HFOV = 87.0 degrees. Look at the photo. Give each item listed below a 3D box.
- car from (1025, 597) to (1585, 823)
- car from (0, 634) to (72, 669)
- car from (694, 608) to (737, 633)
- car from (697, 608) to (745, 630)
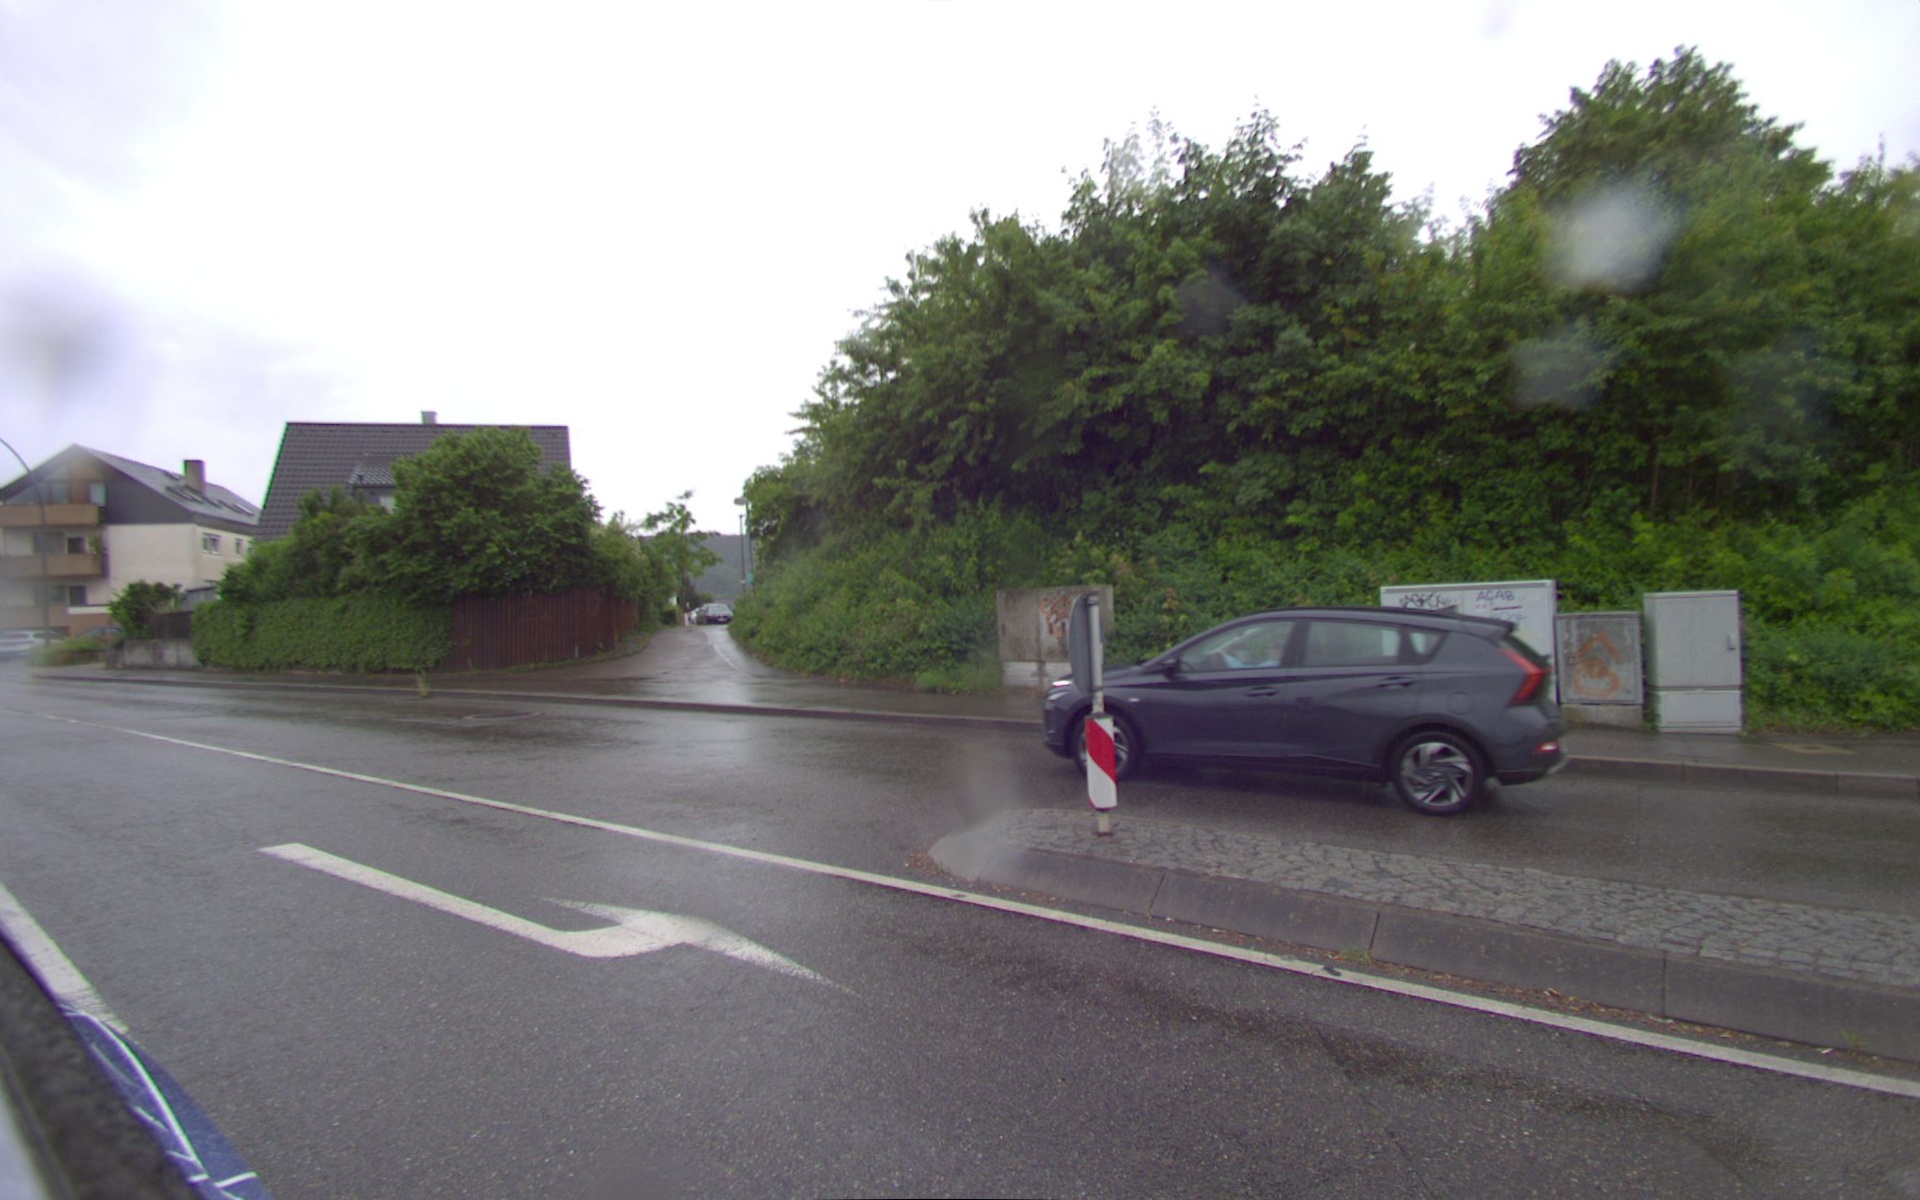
[{"bbox_3d":[2.718,0.748,8.329,4.095,1.449,1.651,-1,-2,33],"label":"car"},{"bbox_3d":[-46.706,2.550,50.760,1.638,1.558,4.011,-1,0,-15],"label":"car"},{"bbox_3d":[-15.953,1.343,65.914,1.867,1.494,4.013,-1,-1,-26],"label":"car"},{"bbox_3d":[-17.468,1.355,73.813,1.967,1.497,4.009,-1,0,-37],"label":"car"}]
